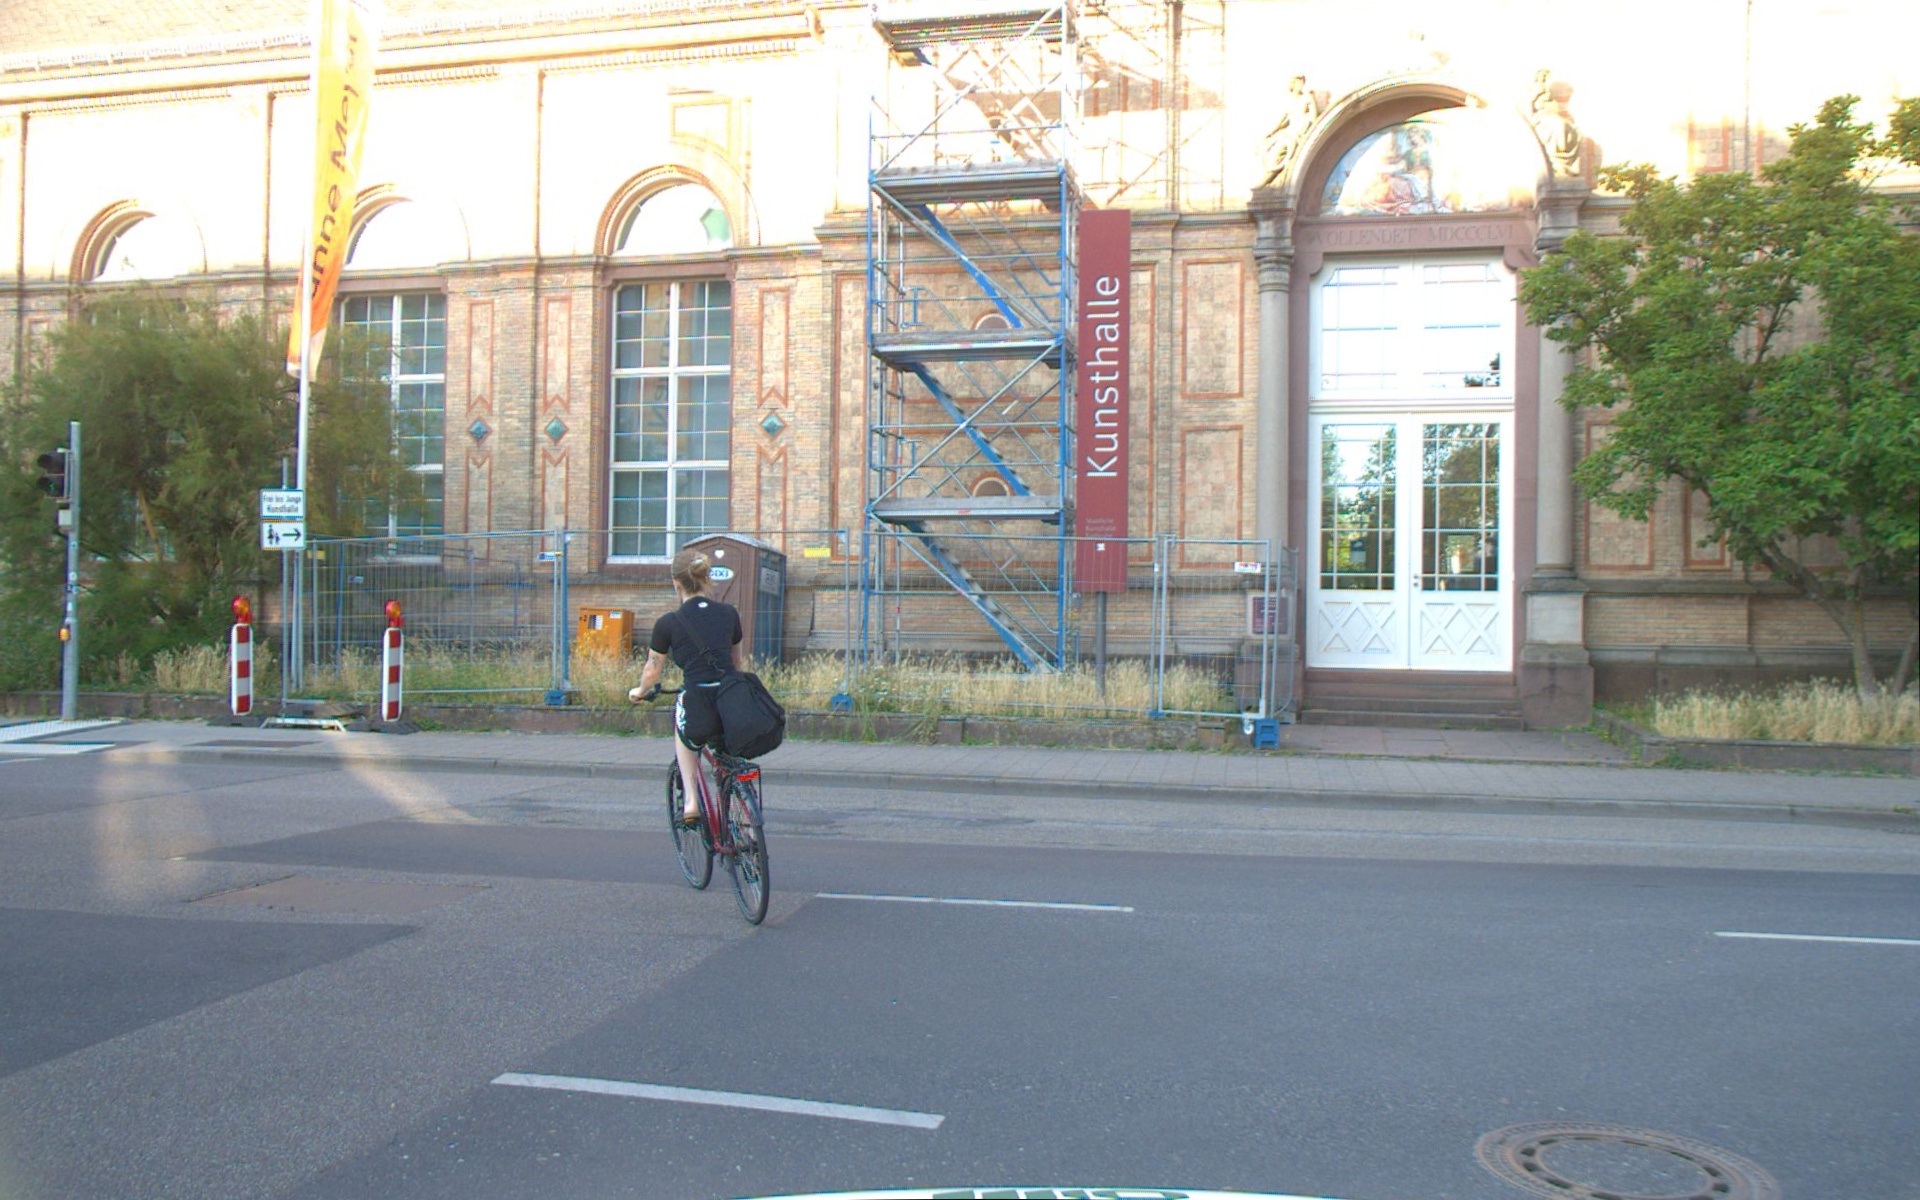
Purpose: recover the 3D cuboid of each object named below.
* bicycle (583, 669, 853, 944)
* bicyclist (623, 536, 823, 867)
[{"bbox_3d":[-1.280,0.954,8.344,0.703,1.176,2.050,2,-2,-27],"label":"bicycle"},{"bbox_3d":[-1.185,0.489,8.198,0.708,1.529,0.842,2,-3,-28],"label":"bicyclist"}]
